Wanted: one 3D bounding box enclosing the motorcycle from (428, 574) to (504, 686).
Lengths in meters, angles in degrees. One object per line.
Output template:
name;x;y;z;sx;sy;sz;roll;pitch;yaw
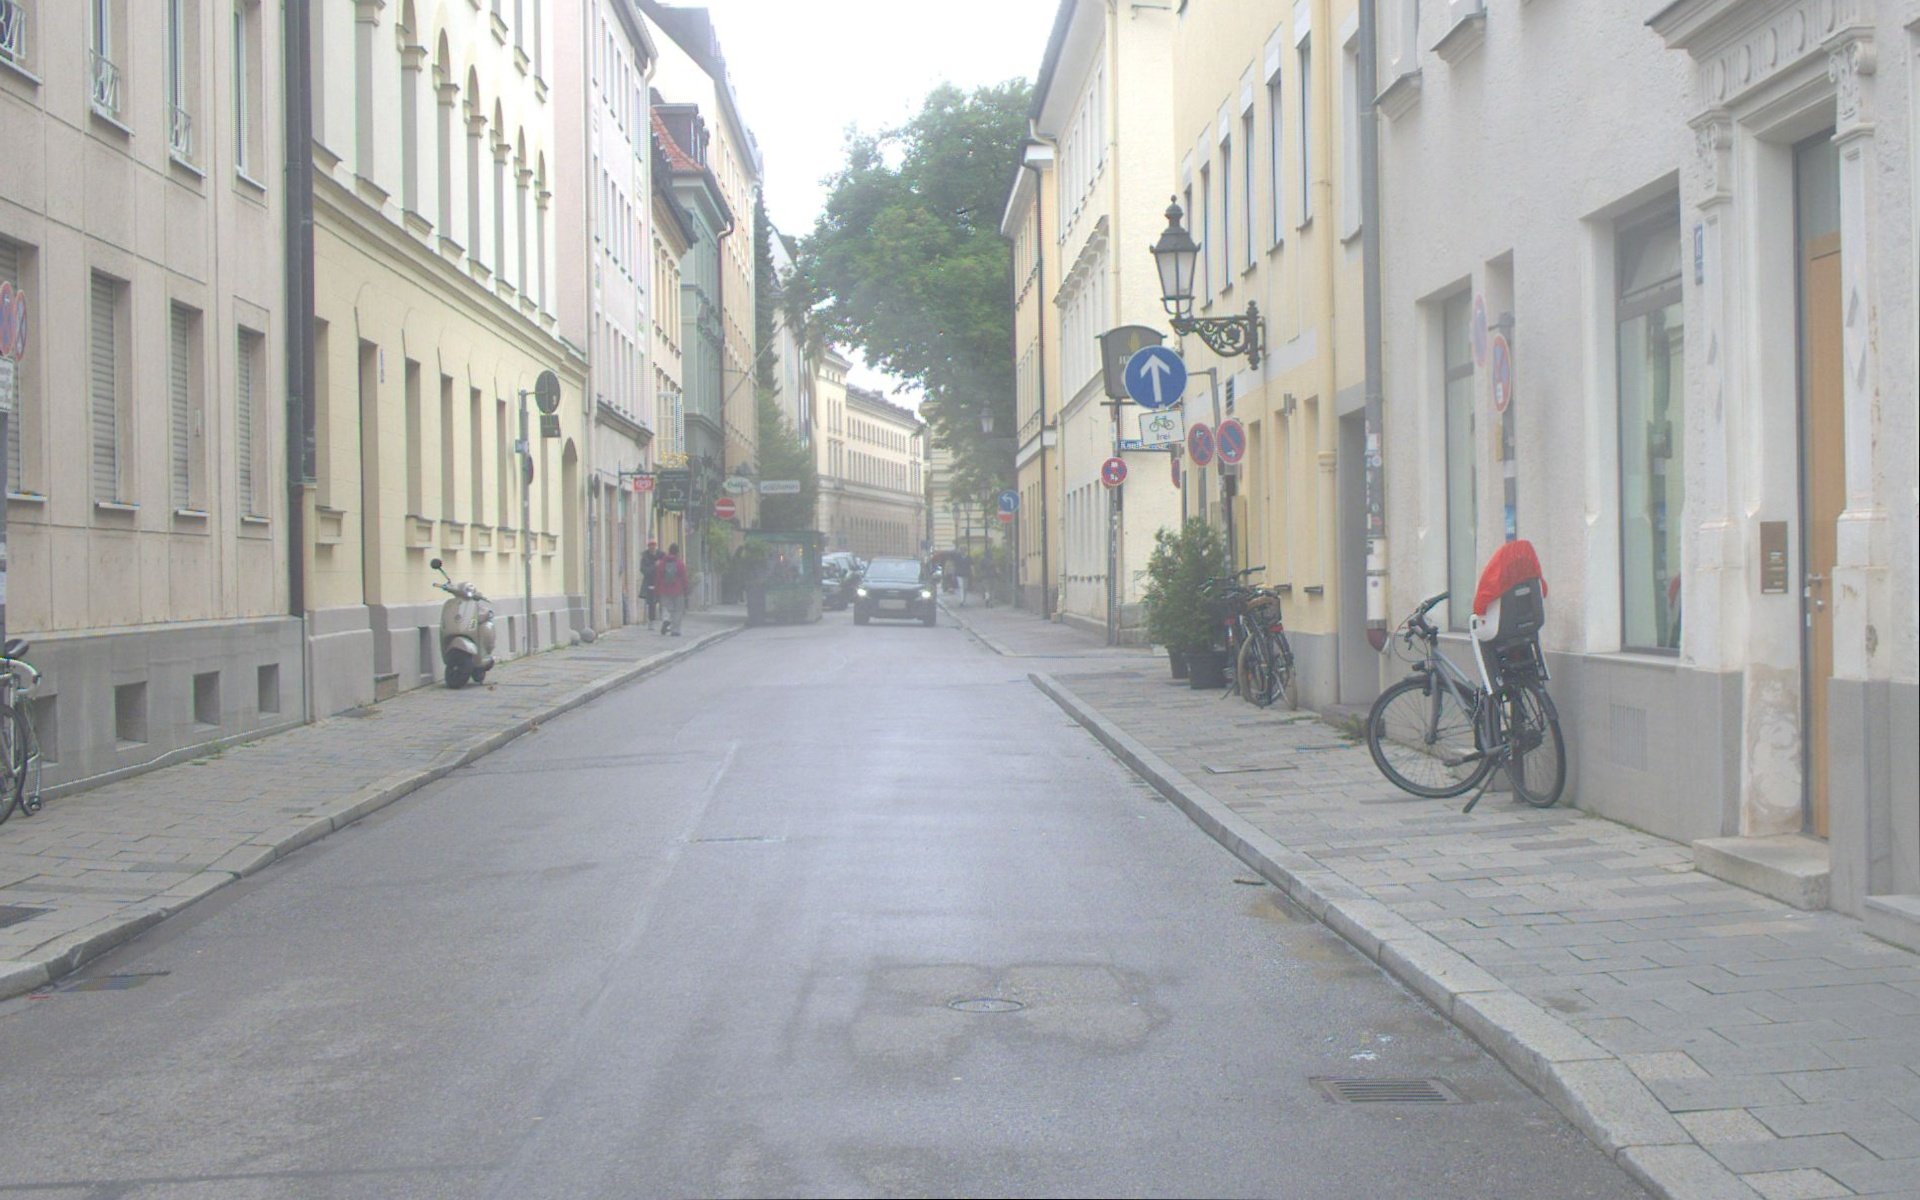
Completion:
motorcycle;-5.342;0.311;37.240;0.602;1.170;1.709;0;1;-1

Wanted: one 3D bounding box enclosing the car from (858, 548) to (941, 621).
car;-1.375;-0.360;77.454;1.812;1.588;4.000;0;1;-1

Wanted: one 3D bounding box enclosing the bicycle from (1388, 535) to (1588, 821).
bicycle;2.759;0.371;18.171;0.713;1.391;2.122;-3;1;1

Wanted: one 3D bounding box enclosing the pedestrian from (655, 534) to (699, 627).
pedestrian;-5.225;-0.363;63.493;0.765;1.702;0.785;-1;1;-3

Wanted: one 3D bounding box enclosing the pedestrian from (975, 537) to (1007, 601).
pedestrian;0.885;-0.885;98.222;0.880;1.796;1.046;0;1;0

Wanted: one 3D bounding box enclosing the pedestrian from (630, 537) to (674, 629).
pedestrian;-5.983;-0.334;66.807;0.809;1.749;0.990;0;2;-3

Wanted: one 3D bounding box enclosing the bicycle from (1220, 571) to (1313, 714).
bicycle;2.595;0.339;29.258;0.565;1.133;1.988;-3;1;0

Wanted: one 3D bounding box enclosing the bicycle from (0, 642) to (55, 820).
bicycle;-5.398;0.728;19.013;0.320;0.940;1.574;2;1;1

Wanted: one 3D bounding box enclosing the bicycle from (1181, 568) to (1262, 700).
bicycle;2.385;0.295;31.475;0.565;1.133;1.684;-3;1;0

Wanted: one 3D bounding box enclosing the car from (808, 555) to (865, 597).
car;-4.318;-0.853;120.626;1.779;1.461;3.542;1;1;2

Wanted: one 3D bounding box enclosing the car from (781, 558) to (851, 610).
car;-4.177;-0.486;100.498;1.779;1.461;3.662;1;1;2
